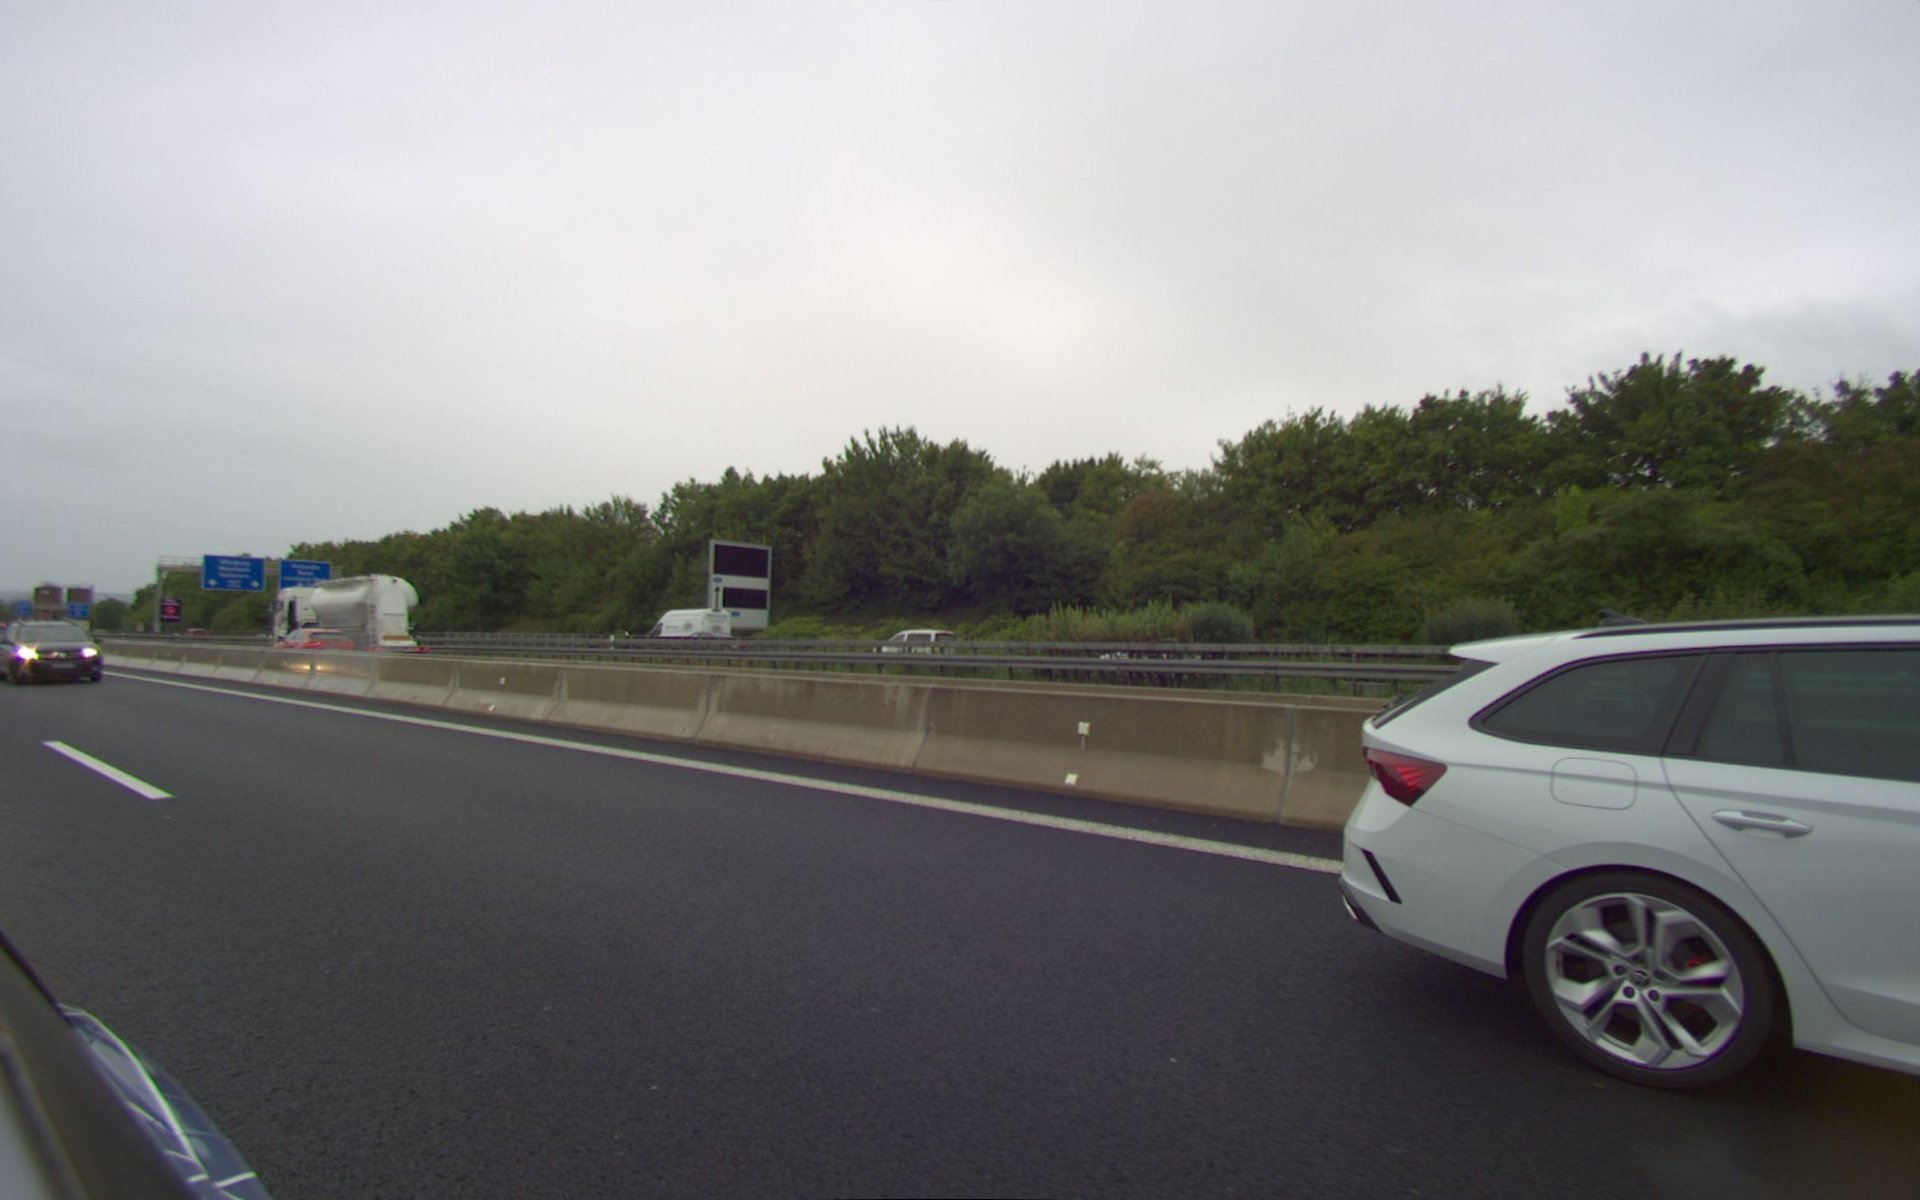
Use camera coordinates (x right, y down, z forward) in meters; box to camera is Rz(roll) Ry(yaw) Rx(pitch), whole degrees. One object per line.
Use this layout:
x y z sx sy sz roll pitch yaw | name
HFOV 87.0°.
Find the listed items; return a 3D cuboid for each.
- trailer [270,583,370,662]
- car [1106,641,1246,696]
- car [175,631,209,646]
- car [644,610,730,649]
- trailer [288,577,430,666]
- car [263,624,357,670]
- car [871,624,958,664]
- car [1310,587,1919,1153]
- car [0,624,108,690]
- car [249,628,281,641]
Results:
-32.435 1.143 51.189 6.490 3.744 2.608 -1 -2 42 | trailer
6.748 2.103 31.850 3.998 1.519 1.686 -1 -1 41 | car
-82.222 4.132 108.367 4.562 1.467 1.801 -1 -1 39 | car
-14.658 1.555 54.260 5.296 2.029 1.854 -1 -1 41 | car
-28.450 0.997 47.598 10.808 3.765 2.608 -1 -2 42 | trailer
-24.285 1.721 37.739 4.353 1.592 1.790 -1 -1 41 | car
-2.146 2.040 47.445 3.995 1.783 1.687 -1 -1 39 | car
3.656 0.701 2.794 4.776 1.467 1.799 -1 -1 42 | car
-22.907 1.349 25.330 4.564 1.500 1.704 -1 -1 41 | car
-79.106 3.902 115.162 4.773 1.467 1.800 -1 -1 40 | car
